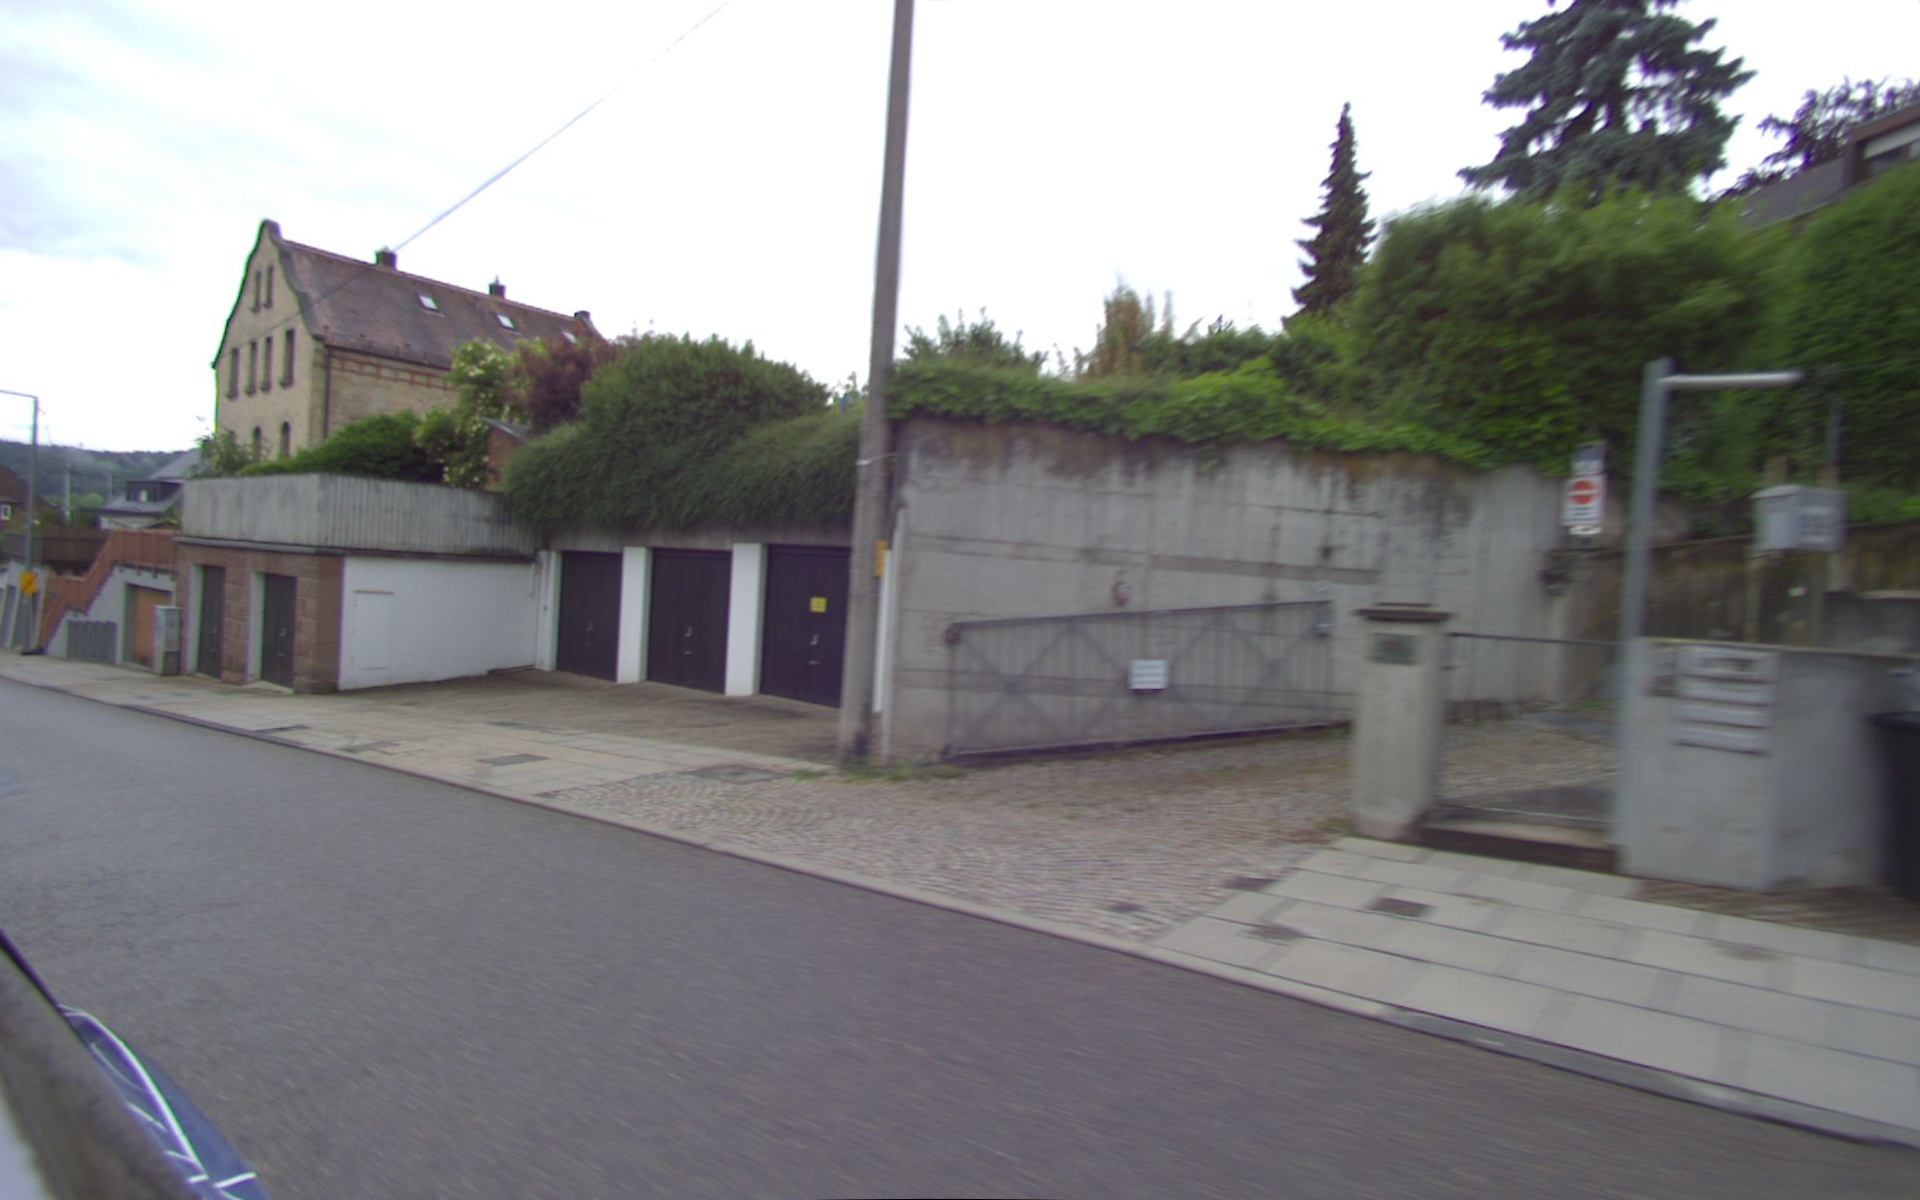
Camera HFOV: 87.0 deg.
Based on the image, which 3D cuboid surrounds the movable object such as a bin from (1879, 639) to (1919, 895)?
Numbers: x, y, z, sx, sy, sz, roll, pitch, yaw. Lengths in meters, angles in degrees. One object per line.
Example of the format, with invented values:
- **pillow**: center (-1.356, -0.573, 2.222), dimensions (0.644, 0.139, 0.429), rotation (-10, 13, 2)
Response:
- **movable object such as a bin**: center (4.655, 0.770, 4.523), dimensions (0.520, 1.155, 0.602), rotation (0, 1, -6)
